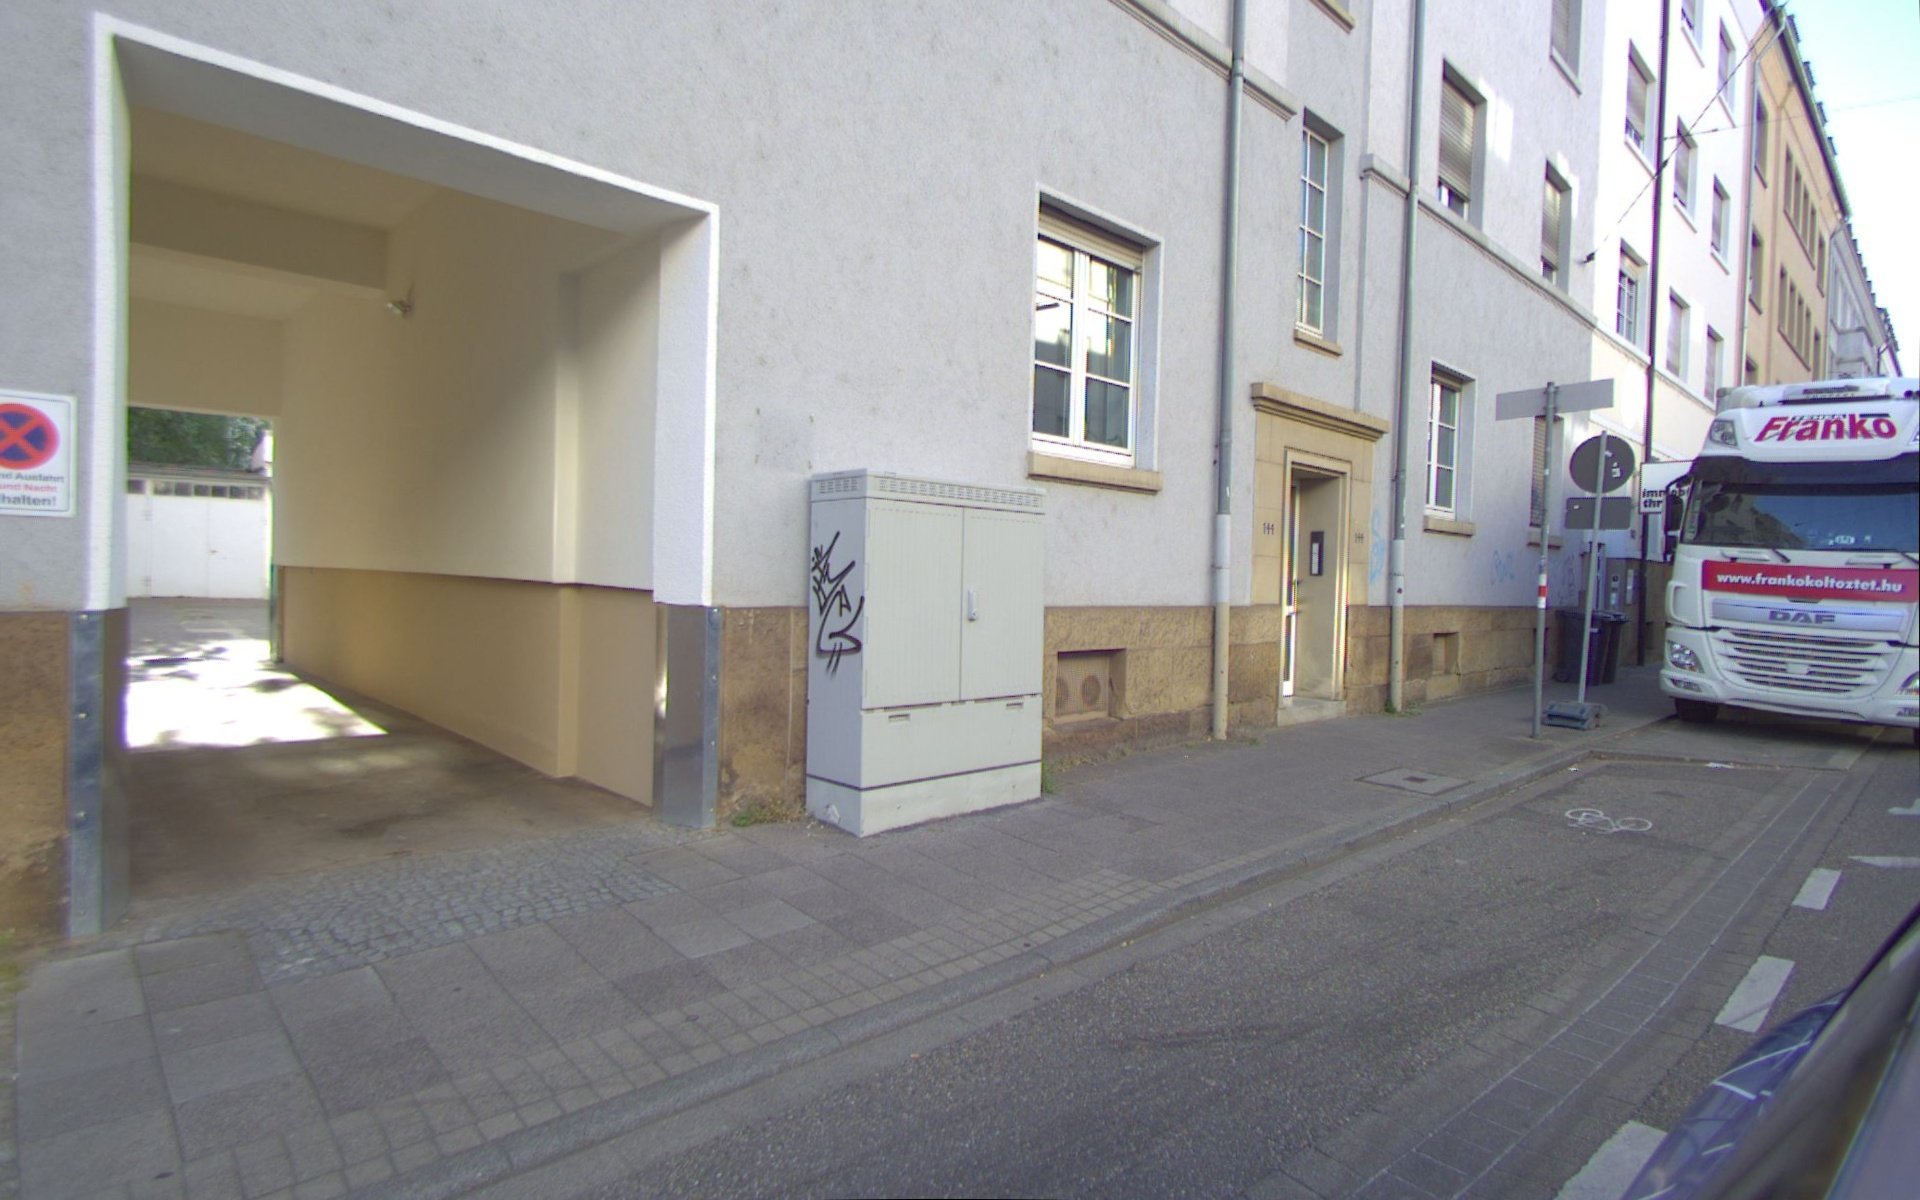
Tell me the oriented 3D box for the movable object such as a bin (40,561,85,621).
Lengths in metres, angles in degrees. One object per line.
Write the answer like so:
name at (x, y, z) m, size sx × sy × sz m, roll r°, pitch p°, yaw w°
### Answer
movable object such as a bin at (-14.373, -0.150, 16.207) m, size 0.518 × 0.922 × 0.580 m, roll 0°, pitch 2°, yaw -43°

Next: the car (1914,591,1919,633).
car at (37.677, 0.454, 38.642) m, size 4.080 × 1.551 × 1.681 m, roll 0°, pitch 0°, yaw -44°

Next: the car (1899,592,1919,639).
car at (33.507, 0.522, 34.745) m, size 4.080 × 1.551 × 1.681 m, roll 0°, pitch 0°, yaw -44°

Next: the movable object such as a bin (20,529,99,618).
movable object such as a bin at (-15.149, -0.457, 17.025) m, size 0.946 × 1.426 × 1.597 m, roll 0°, pitch 2°, yaw -43°

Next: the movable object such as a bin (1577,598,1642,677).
movable object such as a bin at (9.654, 0.538, 15.048) m, size 0.560 × 1.107 × 0.665 m, roll 0°, pitch 2°, yaw -43°

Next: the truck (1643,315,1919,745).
truck at (12.580, -0.684, 13.890) m, size 11.621 × 3.975 × 2.778 m, roll 0°, pitch 2°, yaw -44°

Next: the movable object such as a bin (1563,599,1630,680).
movable object such as a bin at (9.175, 0.547, 14.597) m, size 0.560 × 1.107 × 0.665 m, roll 0°, pitch 2°, yaw -43°
